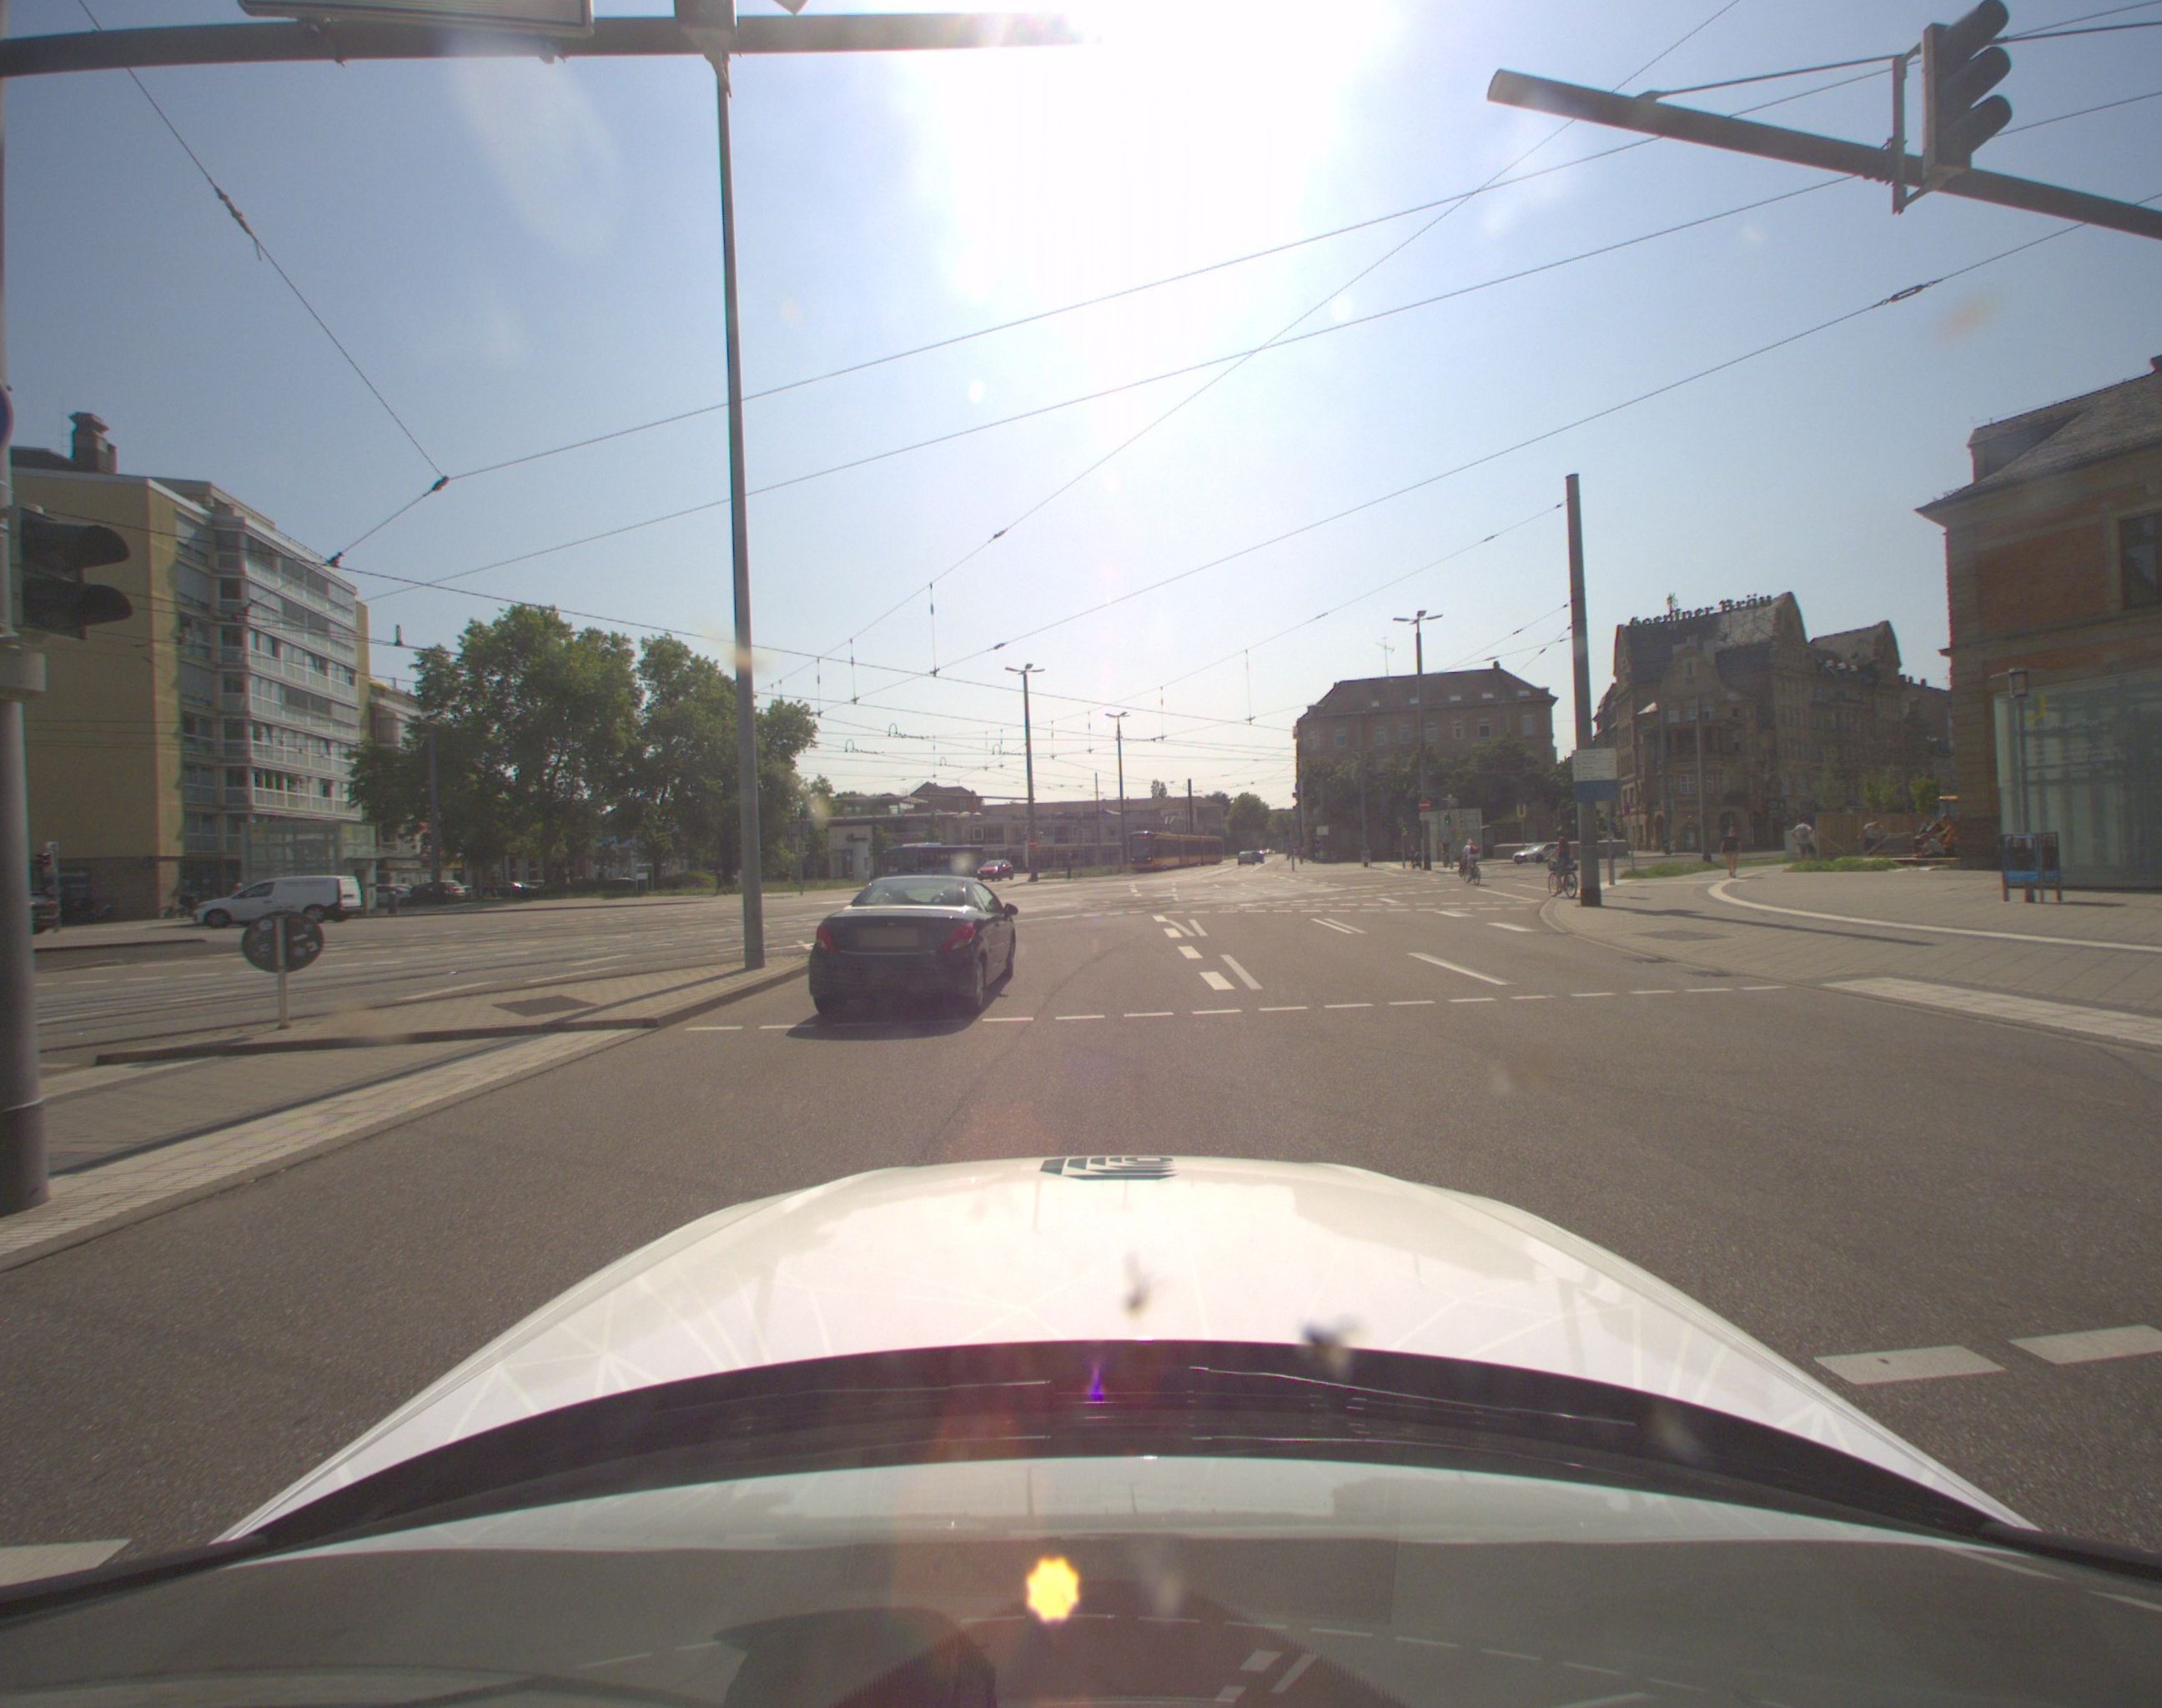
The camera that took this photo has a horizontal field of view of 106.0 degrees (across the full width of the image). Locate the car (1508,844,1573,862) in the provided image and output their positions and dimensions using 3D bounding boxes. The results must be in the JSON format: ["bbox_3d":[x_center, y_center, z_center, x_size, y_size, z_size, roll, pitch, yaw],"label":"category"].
[{"bbox_3d":[32.496,-0.055,57.625,4.005,1.090,1.984,-2,0,-23],"label":"car"}]

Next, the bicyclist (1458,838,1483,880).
[{"bbox_3d":[14.323,0.184,29.948,0.623,1.517,0.714,-2,-1,12],"label":"bicyclist"}]

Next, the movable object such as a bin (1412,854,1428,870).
[{"bbox_3d":[23.396,0.567,56.178,0.513,1.077,0.808,-2,-1,-27],"label":"movable object such as a bin"}]

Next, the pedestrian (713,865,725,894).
[{"bbox_3d":[-21.769,1.534,48.957,0.554,1.684,0.451,-2,-1,-19],"label":"pedestrian"}]

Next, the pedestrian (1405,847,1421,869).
[{"bbox_3d":[23.254,0.290,57.019,0.529,1.545,0.846,-2,-1,-24],"label":"pedestrian"}]

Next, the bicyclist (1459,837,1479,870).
[{"bbox_3d":[16.620,-0.021,34.908,0.527,1.393,0.897,-2,-1,12],"label":"bicyclist"}]

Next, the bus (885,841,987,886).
[{"bbox_3d":[-10.929,0.656,63.334,2.542,3.083,12.076,-2,0,17],"label":"bus"}]

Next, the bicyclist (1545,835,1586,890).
[{"bbox_3d":[13.615,0.235,22.894,0.730,1.517,0.664,-2,-1,4],"label":"bicyclist"}]

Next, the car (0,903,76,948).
[{"bbox_3d":[-40.777,2.709,29.798,4.628,1.505,1.986,-2,0,-21],"label":"car"}]

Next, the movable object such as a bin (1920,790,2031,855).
[{"bbox_3d":[34.853,-1.136,31.679,5.578,2.311,1.942,0,-1,-32],"label":"movable object such as a bin"}]

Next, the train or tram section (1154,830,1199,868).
[{"bbox_3d":[9.748,-0.463,82.124,2.567,3.516,9.703,-2,0,18],"label":"train or tram section"}]

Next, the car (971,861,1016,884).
[{"bbox_3d":[-6.425,1.363,60.276,1.736,1.552,4.019,-2,0,18],"label":"car"}]

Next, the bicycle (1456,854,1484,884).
[{"bbox_3d":[14.453,0.558,30.304,0.532,1.055,1.659,-2,0,12],"label":"bicycle"}]

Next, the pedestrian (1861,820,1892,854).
[{"bbox_3d":[28.836,-0.604,29.532,0.658,1.214,0.530,-2,-1,28],"label":"pedestrian"}]

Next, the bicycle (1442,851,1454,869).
[{"bbox_3d":[21.956,0.371,48.702,0.465,1.055,1.662,-2,0,20],"label":"bicycle"}]

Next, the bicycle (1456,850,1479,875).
[{"bbox_3d":[16.731,0.361,35.279,0.532,1.055,1.659,-2,0,12],"label":"bicycle"}]

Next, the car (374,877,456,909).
[{"bbox_3d":[-46.657,2.724,57.150,3.997,2.013,1.919,-2,0,-17],"label":"car"}]

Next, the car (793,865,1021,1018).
[{"bbox_3d":[-1.784,0.855,9.591,1.759,1.388,3.782,-1,0,2],"label":"car"}]

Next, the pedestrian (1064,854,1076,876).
[{"bbox_3d":[-0.765,0.746,55.668,0.678,1.443,0.364,-2,0,-18],"label":"pedestrian"}]

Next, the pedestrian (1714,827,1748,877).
[{"bbox_3d":[21.110,-0.055,26.446,0.729,1.575,0.794,-3,-1,44],"label":"pedestrian"}]

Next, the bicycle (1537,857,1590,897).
[{"bbox_3d":[13.637,0.625,23.074,0.489,1.055,1.825,-2,0,4],"label":"bicycle"}]

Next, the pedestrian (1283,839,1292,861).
[{"bbox_3d":[28.935,-0.500,113.863,0.979,3.017,0.976,-2,0,5],"label":"pedestrian"}]

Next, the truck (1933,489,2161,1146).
[{"bbox_3d":[6.329,-0.220,1.443,2.483,3.135,6.863,-2,0,2],"label":"truck"}]

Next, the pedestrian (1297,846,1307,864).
[{"bbox_3d":[20.167,0.061,74.351,0.699,1.603,0.571,-2,0,-8],"label":"pedestrian"}]

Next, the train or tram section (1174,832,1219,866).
[{"bbox_3d":[13.326,-0.567,92.906,2.567,3.516,13.034,-2,0,19],"label":"train or tram section"}]

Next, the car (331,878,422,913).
[{"bbox_3d":[-46.265,2.682,53.562,3.997,2.013,1.919,-2,0,-17],"label":"car"}]

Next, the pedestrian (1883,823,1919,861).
[{"bbox_3d":[30.470,-0.439,30.273,0.769,1.399,0.686,-2,-1,-26],"label":"pedestrian"}]

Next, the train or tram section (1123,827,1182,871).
[{"bbox_3d":[6.492,-0.459,72.215,2.567,3.516,10.950,-2,0,19],"label":"train or tram section"}]

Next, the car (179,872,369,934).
[{"bbox_3d":[-30.366,1.780,30.839,4.628,2.013,1.986,-2,0,-21],"label":"car"}]

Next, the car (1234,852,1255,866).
[{"bbox_3d":[17.726,0.524,88.284,1.756,1.415,4.207,-2,0,16],"label":"car"}]

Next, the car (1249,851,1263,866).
[{"bbox_3d":[20.898,0.509,97.336,1.625,1.618,4.013,-2,0,12],"label":"car"}]

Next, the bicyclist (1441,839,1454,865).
[{"bbox_3d":[21.957,-0.112,48.845,0.606,1.529,0.524,-2,0,20],"label":"bicyclist"}]

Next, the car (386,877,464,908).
[{"bbox_3d":[-48.777,2.830,60.618,3.997,2.013,1.919,-2,0,-17],"label":"car"}]

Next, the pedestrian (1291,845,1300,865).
[{"bbox_3d":[31.882,0.142,121.091,0.978,3.017,0.976,-2,0,6],"label":"pedestrian"}]

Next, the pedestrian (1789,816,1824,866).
[{"bbox_3d":[25.810,-0.447,28.976,0.550,1.724,0.812,-2,-1,-41],"label":"pedestrian"}]
